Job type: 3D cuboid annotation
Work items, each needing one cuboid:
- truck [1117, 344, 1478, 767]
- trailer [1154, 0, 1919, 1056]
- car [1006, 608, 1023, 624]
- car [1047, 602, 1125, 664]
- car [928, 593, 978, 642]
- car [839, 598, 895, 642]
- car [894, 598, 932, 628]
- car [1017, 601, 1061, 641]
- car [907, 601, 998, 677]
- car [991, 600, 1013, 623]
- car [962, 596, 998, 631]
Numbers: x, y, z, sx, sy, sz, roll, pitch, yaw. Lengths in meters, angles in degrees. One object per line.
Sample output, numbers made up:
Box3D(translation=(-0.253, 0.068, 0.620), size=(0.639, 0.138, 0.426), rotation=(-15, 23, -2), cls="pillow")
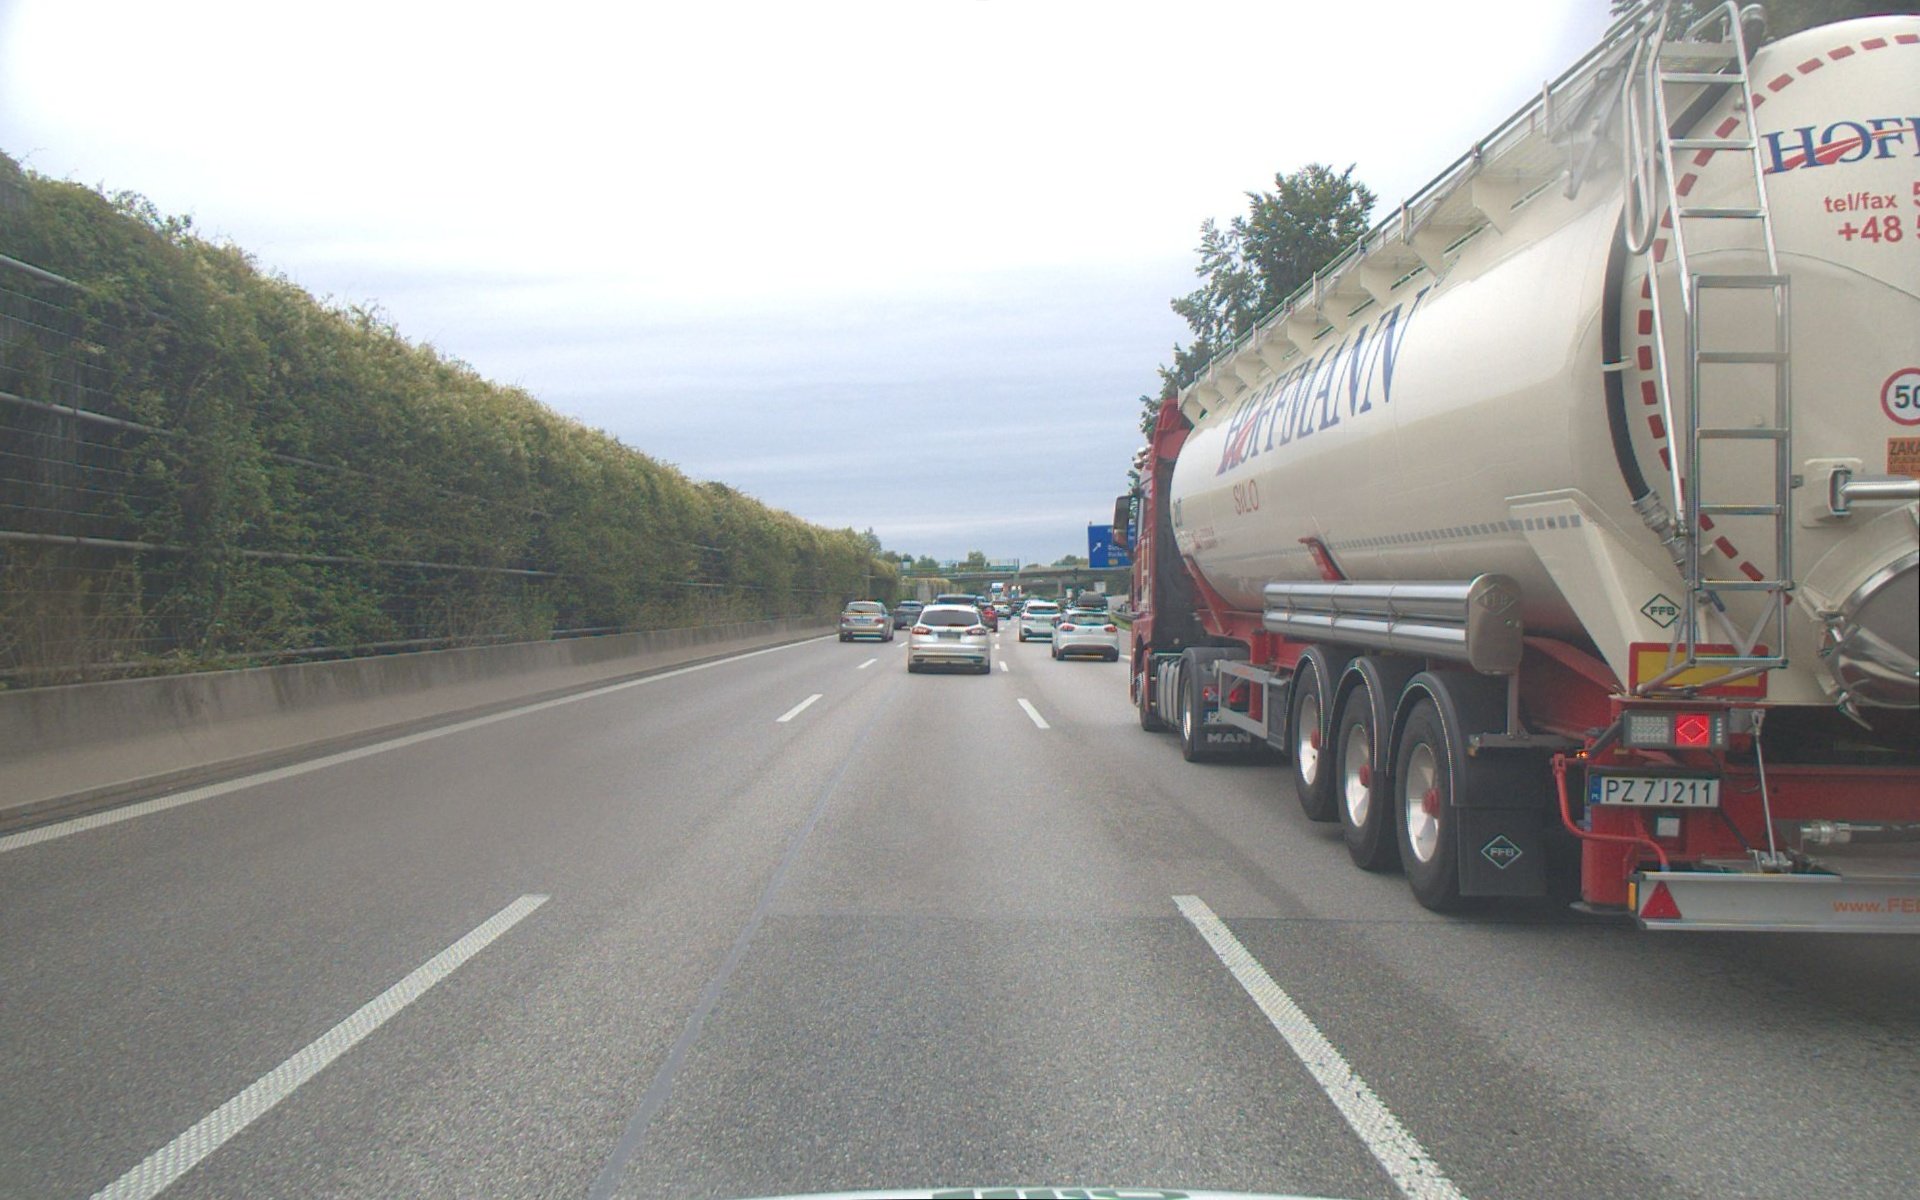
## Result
Box3D(translation=(3.500, -0.376, 18.879), size=(2.640, 3.981, 6.554), rotation=(0, -1, -1), cls="truck")
Box3D(translation=(3.540, -0.453, 12.050), size=(2.614, 4.008, 13.128), rotation=(0, 0, 0), cls="trailer")
Box3D(translation=(5.575, 1.603, 169.238), size=(1.654, 1.566, 3.871), rotation=(0, 0, 0), cls="car")
Box3D(translation=(3.510, 0.900, 46.813), size=(1.779, 1.654, 5.029), rotation=(0, 0, -1), cls="car")
Box3D(translation=(-0.289, 0.603, 60.053), size=(1.655, 1.532, 3.871), rotation=(4, 1, -1), cls="car")
Box3D(translation=(-3.451, 0.788, 62.062), size=(1.684, 1.495, 5.030), rotation=(0, -2, 1), cls="car")
Box3D(translation=(-2.414, 0.678, 86.101), size=(1.684, 1.539, 5.031), rotation=(0, 0, 2), cls="car")
Box3D(translation=(3.117, 0.830, 66.085), size=(1.654, 1.533, 3.872), rotation=(0, -1, 1), cls="car")
Box3D(translation=(-0.202, 0.838, 37.204), size=(1.853, 1.530, 5.029), rotation=(2, 0, -1), cls="car")
Box3D(translation=(3.463, 0.950, 137.289), size=(1.752, 1.811, 3.872), rotation=(-1, -1, 2), cls="car")
Box3D(translation=(0.999, 0.646, 81.632), size=(1.654, 1.532, 3.872), rotation=(4, 1, 1), cls="car")
